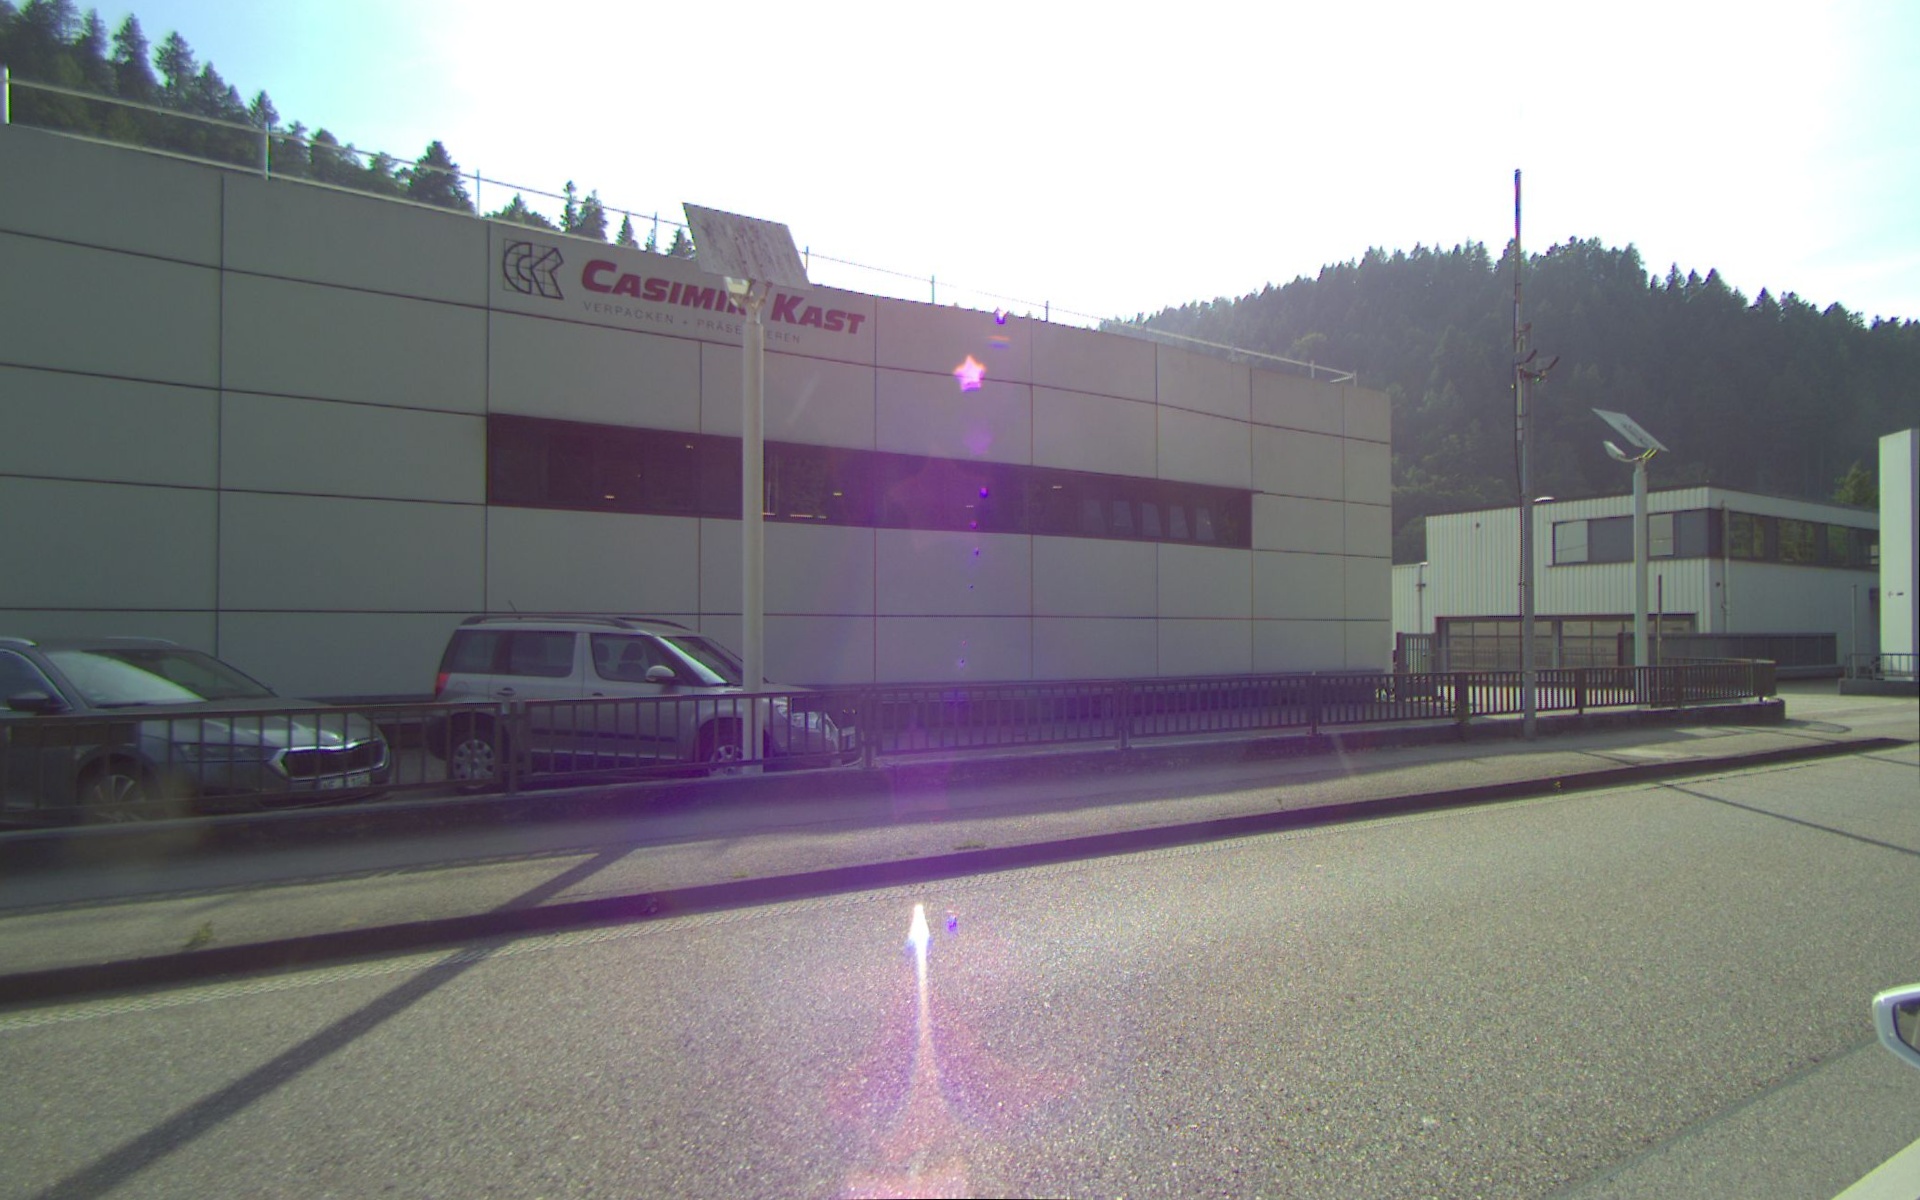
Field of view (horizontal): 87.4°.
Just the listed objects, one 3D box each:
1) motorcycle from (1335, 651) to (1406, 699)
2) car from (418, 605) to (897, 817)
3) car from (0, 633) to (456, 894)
[{"bbox_3d":[10.447,1.889,25.525,2.064,1.167,0.510,1,-3,-30],"label":"motorcycle"},{"bbox_3d":[-2.796,0.949,9.665,4.027,1.731,1.783,0,-1,12],"label":"car"},{"bbox_3d":[-6.371,1.040,7.517,4.397,1.514,1.890,0,-1,12],"label":"car"}]
